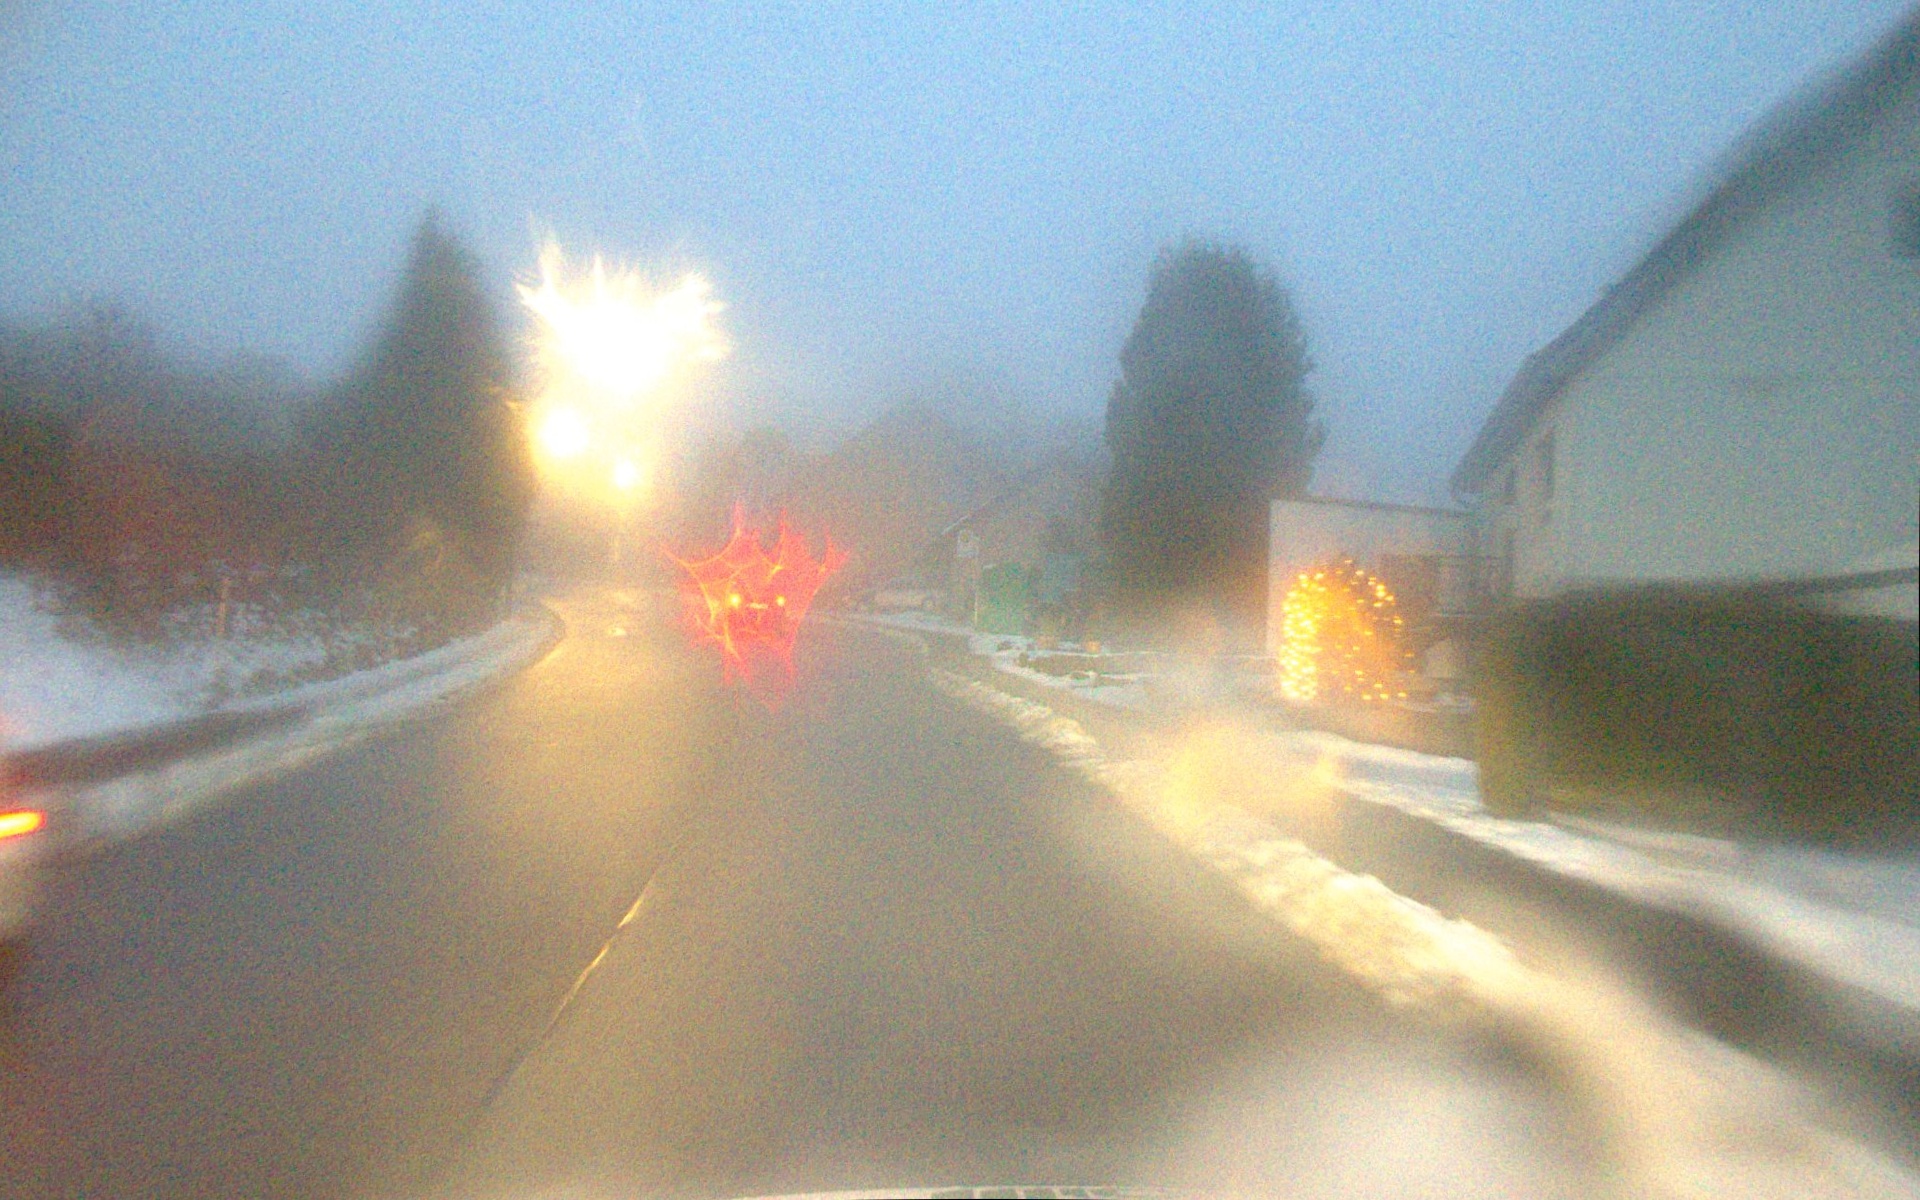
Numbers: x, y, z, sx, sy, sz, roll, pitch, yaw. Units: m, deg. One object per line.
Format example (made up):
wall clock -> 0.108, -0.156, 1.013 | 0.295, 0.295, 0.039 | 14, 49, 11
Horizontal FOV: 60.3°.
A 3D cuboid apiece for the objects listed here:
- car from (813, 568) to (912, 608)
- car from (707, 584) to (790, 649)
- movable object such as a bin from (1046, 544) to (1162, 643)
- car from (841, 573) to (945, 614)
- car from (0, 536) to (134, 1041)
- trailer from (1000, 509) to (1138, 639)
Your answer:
car -> -4.177, -0.480, 70.333 | 4.080, 1.586, 1.942 | 0, -2, -8
car -> -6.067, 0.508, 47.123 | 1.959, 1.767, 3.865 | 1, -2, -13
movable object such as a bin -> 3.915, -0.170, 45.753 | 2.341, 2.512, 4.510 | 2, 0, -6
car -> -2.717, -0.253, 67.540 | 4.157, 1.586, 1.999 | 0, -2, -3
car -> -4.979, 0.502, 6.137 | 3.924, 1.637, 1.895 | 4, 1, 38
trailer -> 3.231, -0.749, 50.308 | 2.824, 3.622, 5.047 | 2, 0, -12
